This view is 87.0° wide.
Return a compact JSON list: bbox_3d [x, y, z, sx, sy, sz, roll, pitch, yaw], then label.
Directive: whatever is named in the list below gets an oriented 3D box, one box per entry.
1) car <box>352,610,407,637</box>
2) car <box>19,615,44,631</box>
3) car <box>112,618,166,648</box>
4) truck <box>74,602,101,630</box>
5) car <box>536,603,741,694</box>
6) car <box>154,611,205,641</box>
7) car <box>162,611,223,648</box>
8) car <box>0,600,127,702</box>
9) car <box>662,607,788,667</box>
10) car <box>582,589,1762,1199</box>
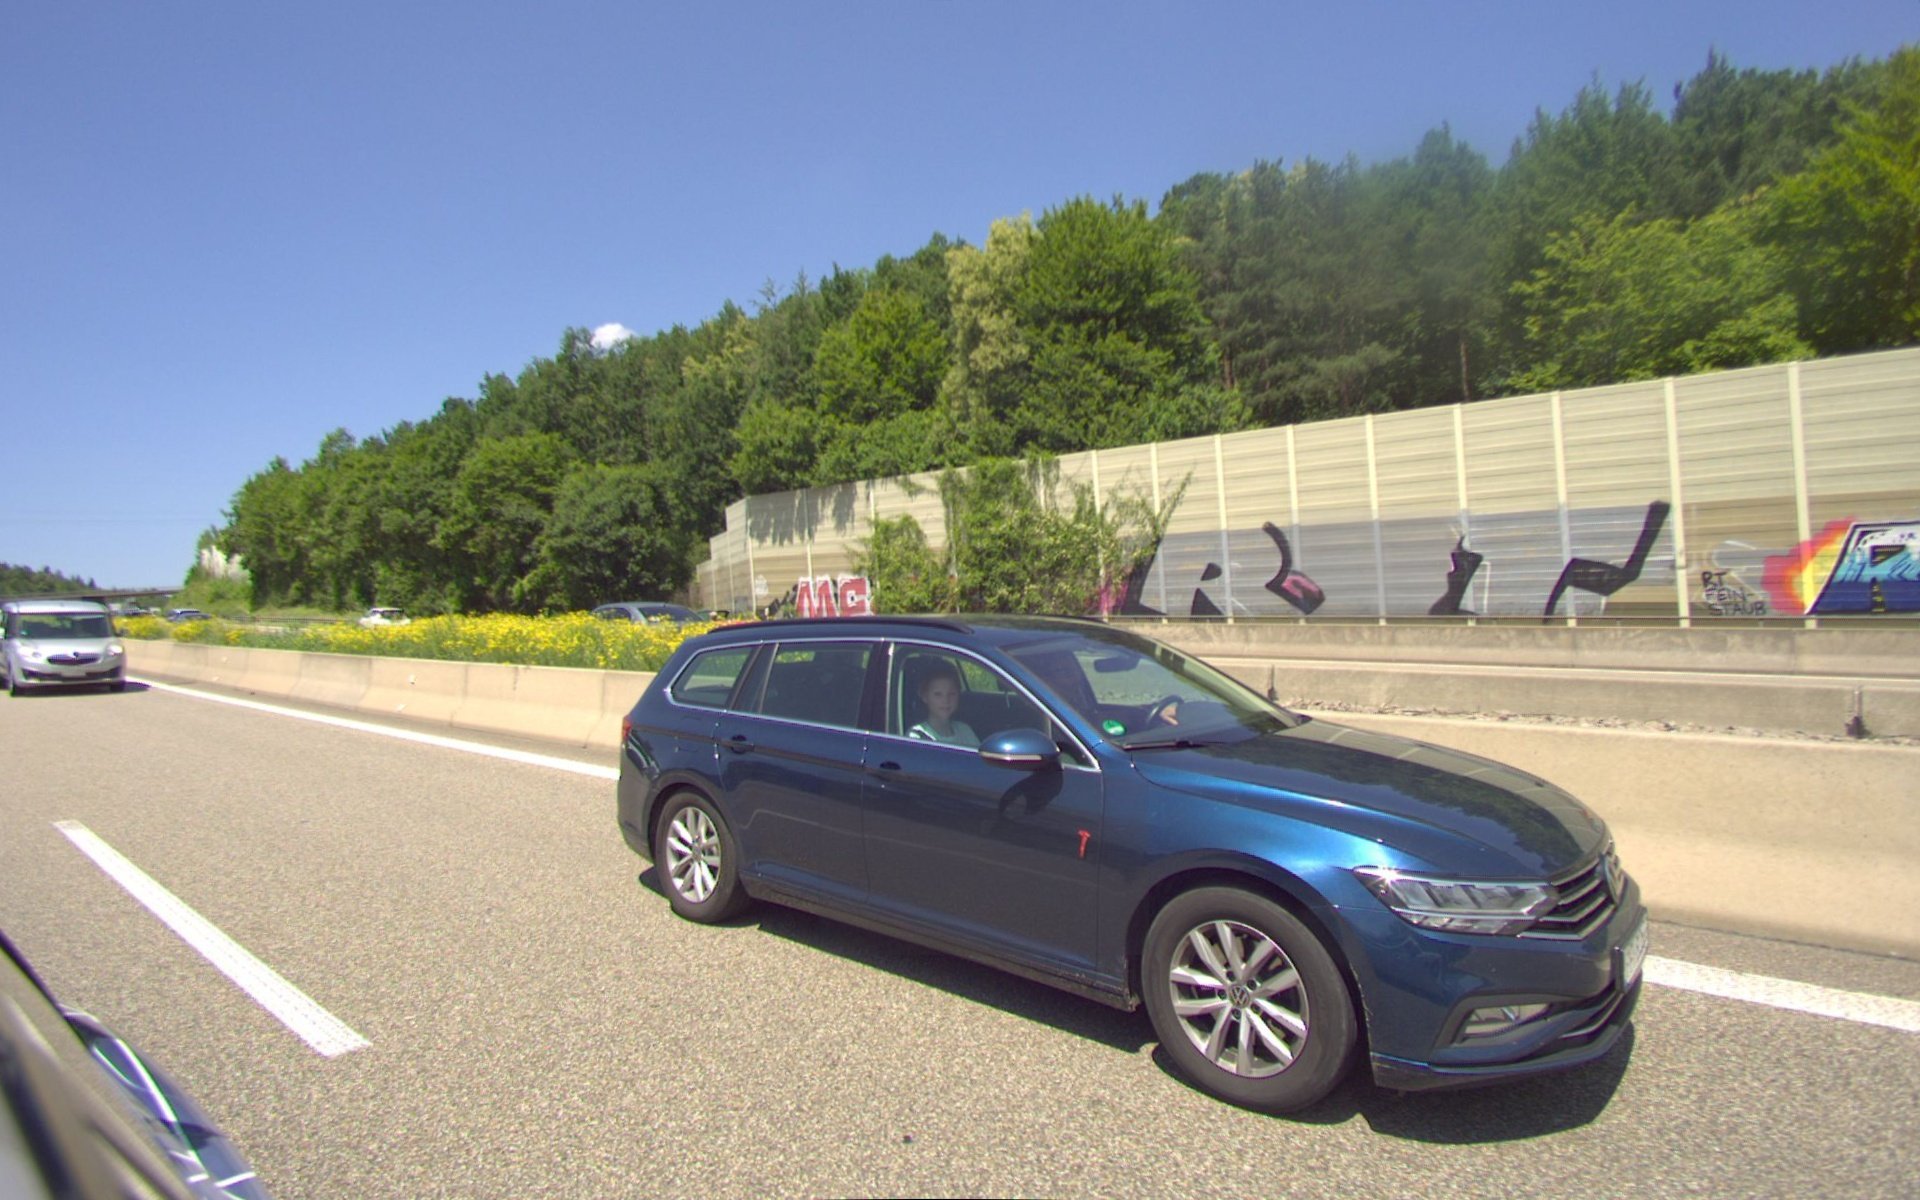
[{"bbox_3d":[-34.154,1.359,59.512,4.312,1.493,1.612,-1,0,43],"label":"car"},{"bbox_3d":[-116.603,2.882,127.088,3.998,2.029,1.973,-1,-1,41],"label":"car"},{"bbox_3d":[-47.733,1.865,58.807,4.689,1.635,1.705,-1,0,42],"label":"car"},{"bbox_3d":[-112.492,2.087,130.457,6.026,3.532,1.972,-1,-1,43],"label":"truck"},{"bbox_3d":[-6.480,0.889,20.121,4.712,1.589,1.728,-1,0,42],"label":"car"},{"bbox_3d":[-52.108,1.698,67.533,4.505,1.913,1.972,0,0,43],"label":"car"},{"bbox_3d":[-36.303,1.363,47.871,3.711,1.663,1.625,0,0,42],"label":"car"},{"bbox_3d":[-18.344,0.961,20.478,4.000,1.858,1.757,-1,0,43],"label":"car"},{"bbox_3d":[-7.076,1.035,30.191,1.719,1.652,4.190,0,0,-45],"label":"car"},{"bbox_3d":[0.378,0.722,4.345,4.727,1.438,1.714,-1,0,41],"label":"car"}]
